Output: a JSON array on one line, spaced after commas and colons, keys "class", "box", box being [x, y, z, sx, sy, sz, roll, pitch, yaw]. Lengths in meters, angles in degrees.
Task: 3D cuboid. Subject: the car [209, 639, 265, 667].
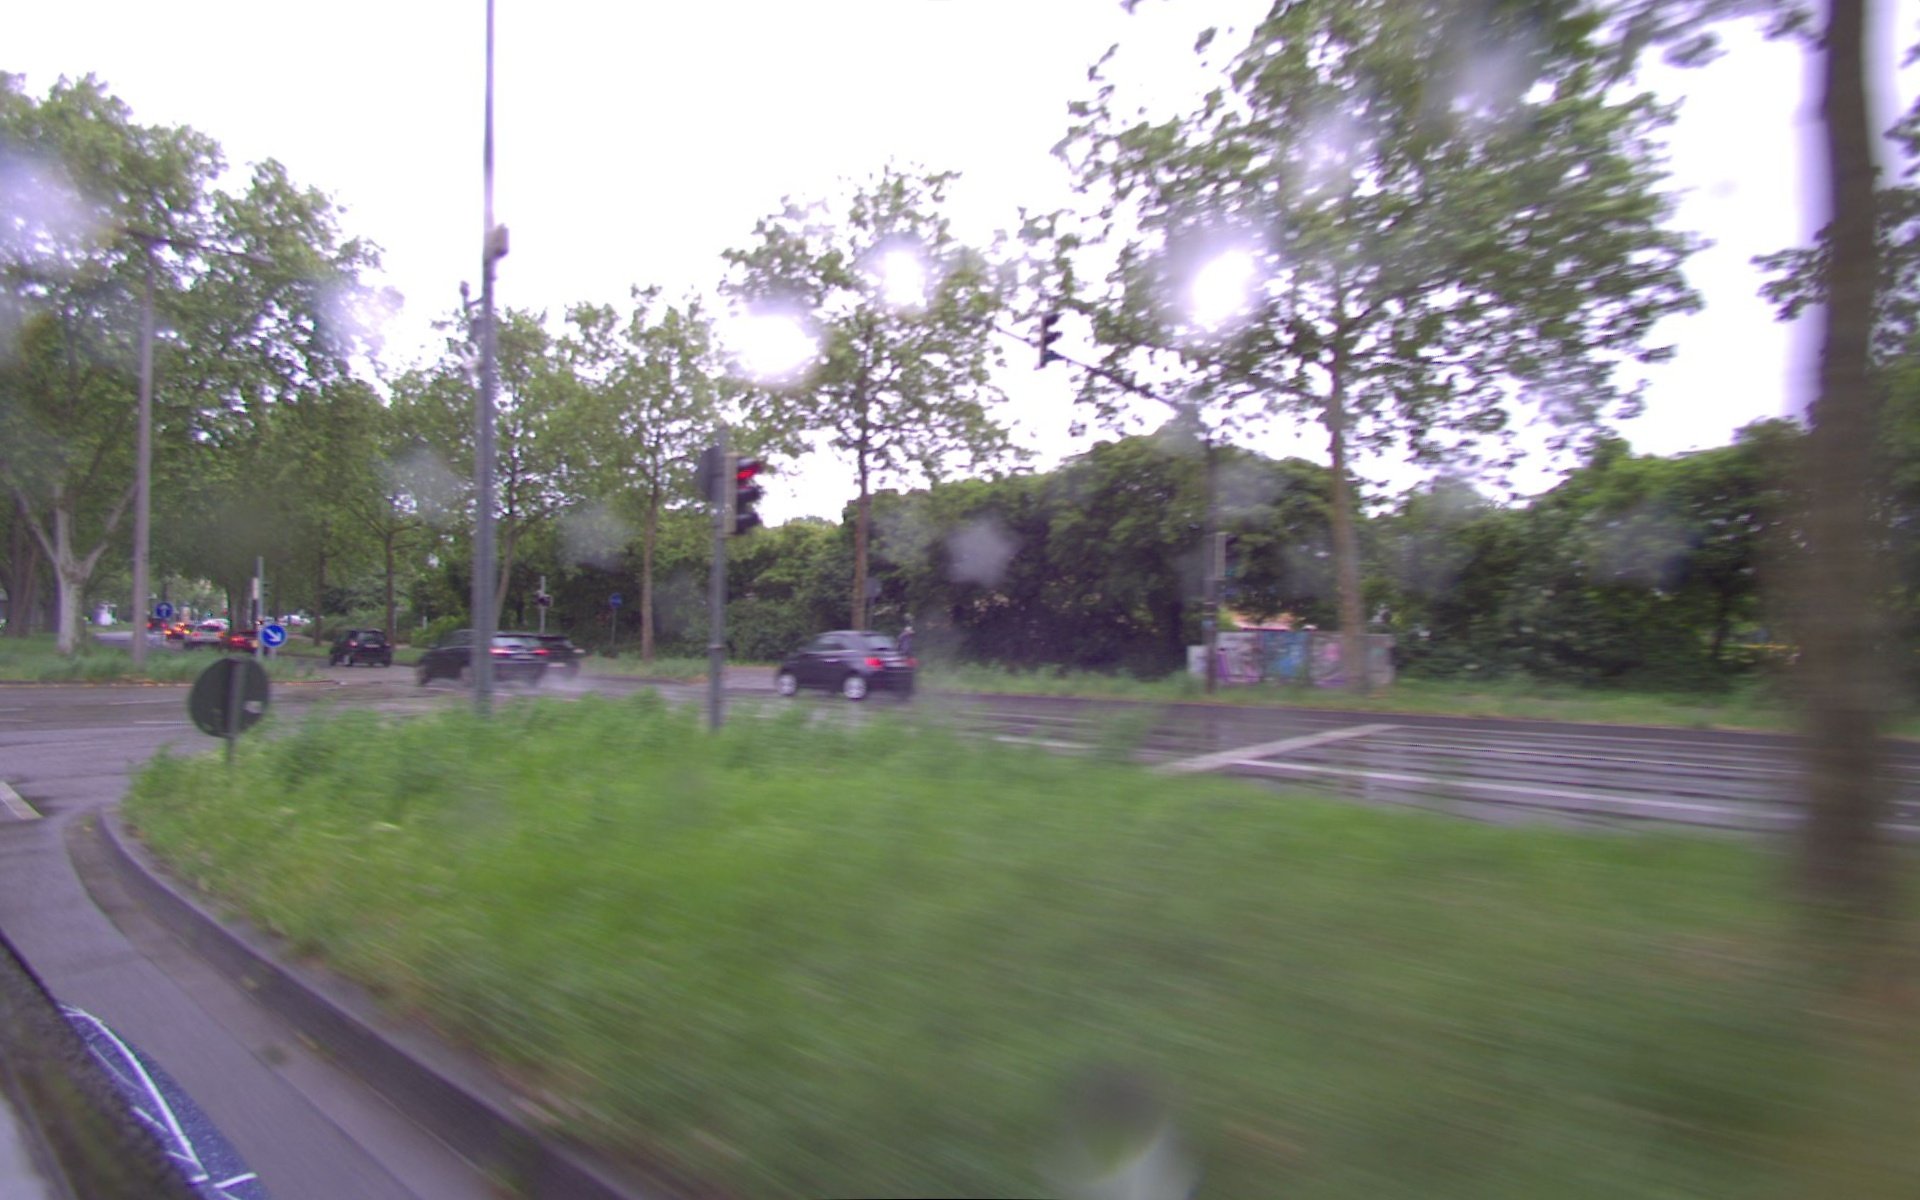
[{"class": "car", "box": [-39.334, 2.865, 55.003, 4.446, 1.419, 1.723, -2, -3, 45]}]

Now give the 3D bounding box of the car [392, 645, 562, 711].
[{"class": "car", "box": [-12.537, 1.939, 26.115, 4.985, 1.463, 1.984, -1, -3, 39]}]

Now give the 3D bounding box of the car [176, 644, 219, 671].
[{"class": "car", "box": [-48.931, 3.650, 64.928, 1.722, 1.644, 4.449, 3, -3, -43]}]

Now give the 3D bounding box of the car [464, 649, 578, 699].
[{"class": "car", "box": [-13.795, 2.267, 31.701, 4.260, 1.383, 1.570, -1, -3, 41]}]

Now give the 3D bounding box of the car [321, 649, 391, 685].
[{"class": "car", "box": [-24.872, 2.731, 41.627, 3.333, 1.383, 1.570, -1, -3, 42]}]

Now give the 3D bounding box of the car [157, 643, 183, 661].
[{"class": "car", "box": [-68.558, 4.513, 87.840, 1.721, 1.450, 4.452, 2, -4, -38]}]

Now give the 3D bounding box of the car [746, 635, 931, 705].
[{"class": "car", "box": [-2.768, 1.503, 22.568, 4.257, 1.383, 1.572, -1, -3, 39]}]

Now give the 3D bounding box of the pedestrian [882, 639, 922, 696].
[{"class": "pedestrian", "box": [-1.779, 2.039, 30.901, 0.899, 1.686, 0.822, -2, -3, 41]}]

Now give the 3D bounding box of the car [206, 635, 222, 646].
[{"class": "car", "box": [-115.362, 6.290, 156.509, 1.721, 1.603, 4.338, 2, -3, -39]}]

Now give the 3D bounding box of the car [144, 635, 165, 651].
[{"class": "car", "box": [-95.810, 5.131, 120.443, 1.720, 1.856, 5.132, 2, -3, -36]}]
